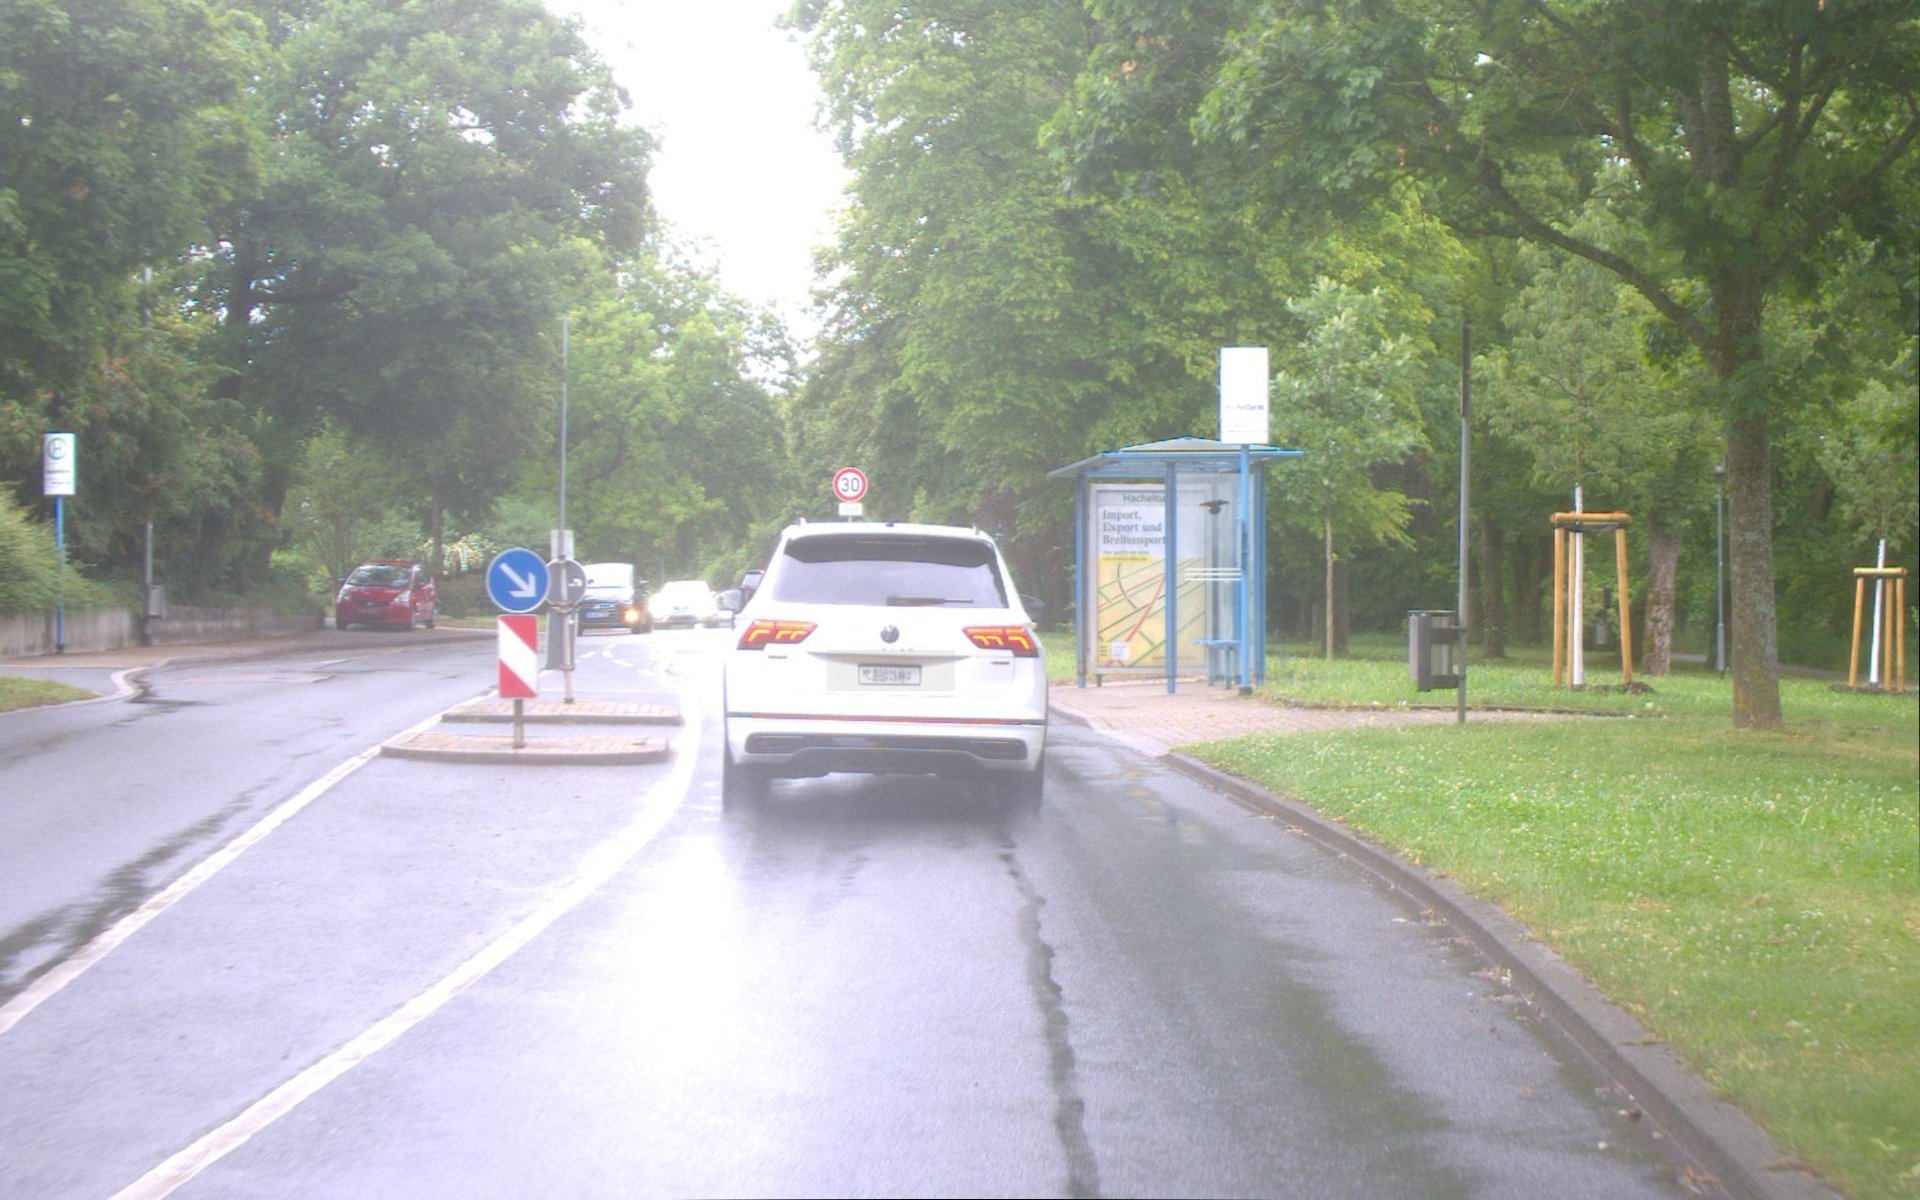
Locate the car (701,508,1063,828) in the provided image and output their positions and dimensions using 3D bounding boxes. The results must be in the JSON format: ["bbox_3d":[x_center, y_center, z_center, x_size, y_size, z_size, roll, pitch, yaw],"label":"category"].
[{"bbox_3d":[-0.504,0.343,20.597,1.905,1.679,4.201,1,1,-2],"label":"car"}]

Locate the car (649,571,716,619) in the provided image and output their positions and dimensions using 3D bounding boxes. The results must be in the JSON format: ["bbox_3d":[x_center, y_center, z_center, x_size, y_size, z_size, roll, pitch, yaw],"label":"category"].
[{"bbox_3d":[-8.317,-0.165,103.419,1.790,1.418,4.359,-1,0,-2],"label":"car"}]

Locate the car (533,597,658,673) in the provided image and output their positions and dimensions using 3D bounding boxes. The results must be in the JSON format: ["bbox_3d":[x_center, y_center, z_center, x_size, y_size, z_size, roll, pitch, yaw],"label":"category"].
[{"bbox_3d":[-8.117,0.757,76.199,1.993,1.571,4.001,1,1,-17],"label":"car"}]

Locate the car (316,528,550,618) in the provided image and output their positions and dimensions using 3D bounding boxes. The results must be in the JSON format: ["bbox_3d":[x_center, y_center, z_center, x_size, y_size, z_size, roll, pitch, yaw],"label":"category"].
[{"bbox_3d":[-13.473,-0.689,88.364,5.742,2.031,3.480,2,0,-7],"label":"car"}]

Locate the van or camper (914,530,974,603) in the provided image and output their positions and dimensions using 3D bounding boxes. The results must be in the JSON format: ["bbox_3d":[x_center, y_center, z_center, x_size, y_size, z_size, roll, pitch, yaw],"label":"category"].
[{"bbox_3d":[-0.561,-1.227,130.040,2.016,2.574,8.435,2,0,1],"label":"van or camper"}]

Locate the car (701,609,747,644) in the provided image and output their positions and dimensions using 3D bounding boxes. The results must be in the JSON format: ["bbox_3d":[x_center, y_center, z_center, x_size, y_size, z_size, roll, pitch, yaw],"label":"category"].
[{"bbox_3d":[-9.914,1.102,144.518,1.700,1.405,4.008,-2,0,-1],"label":"car"}]
